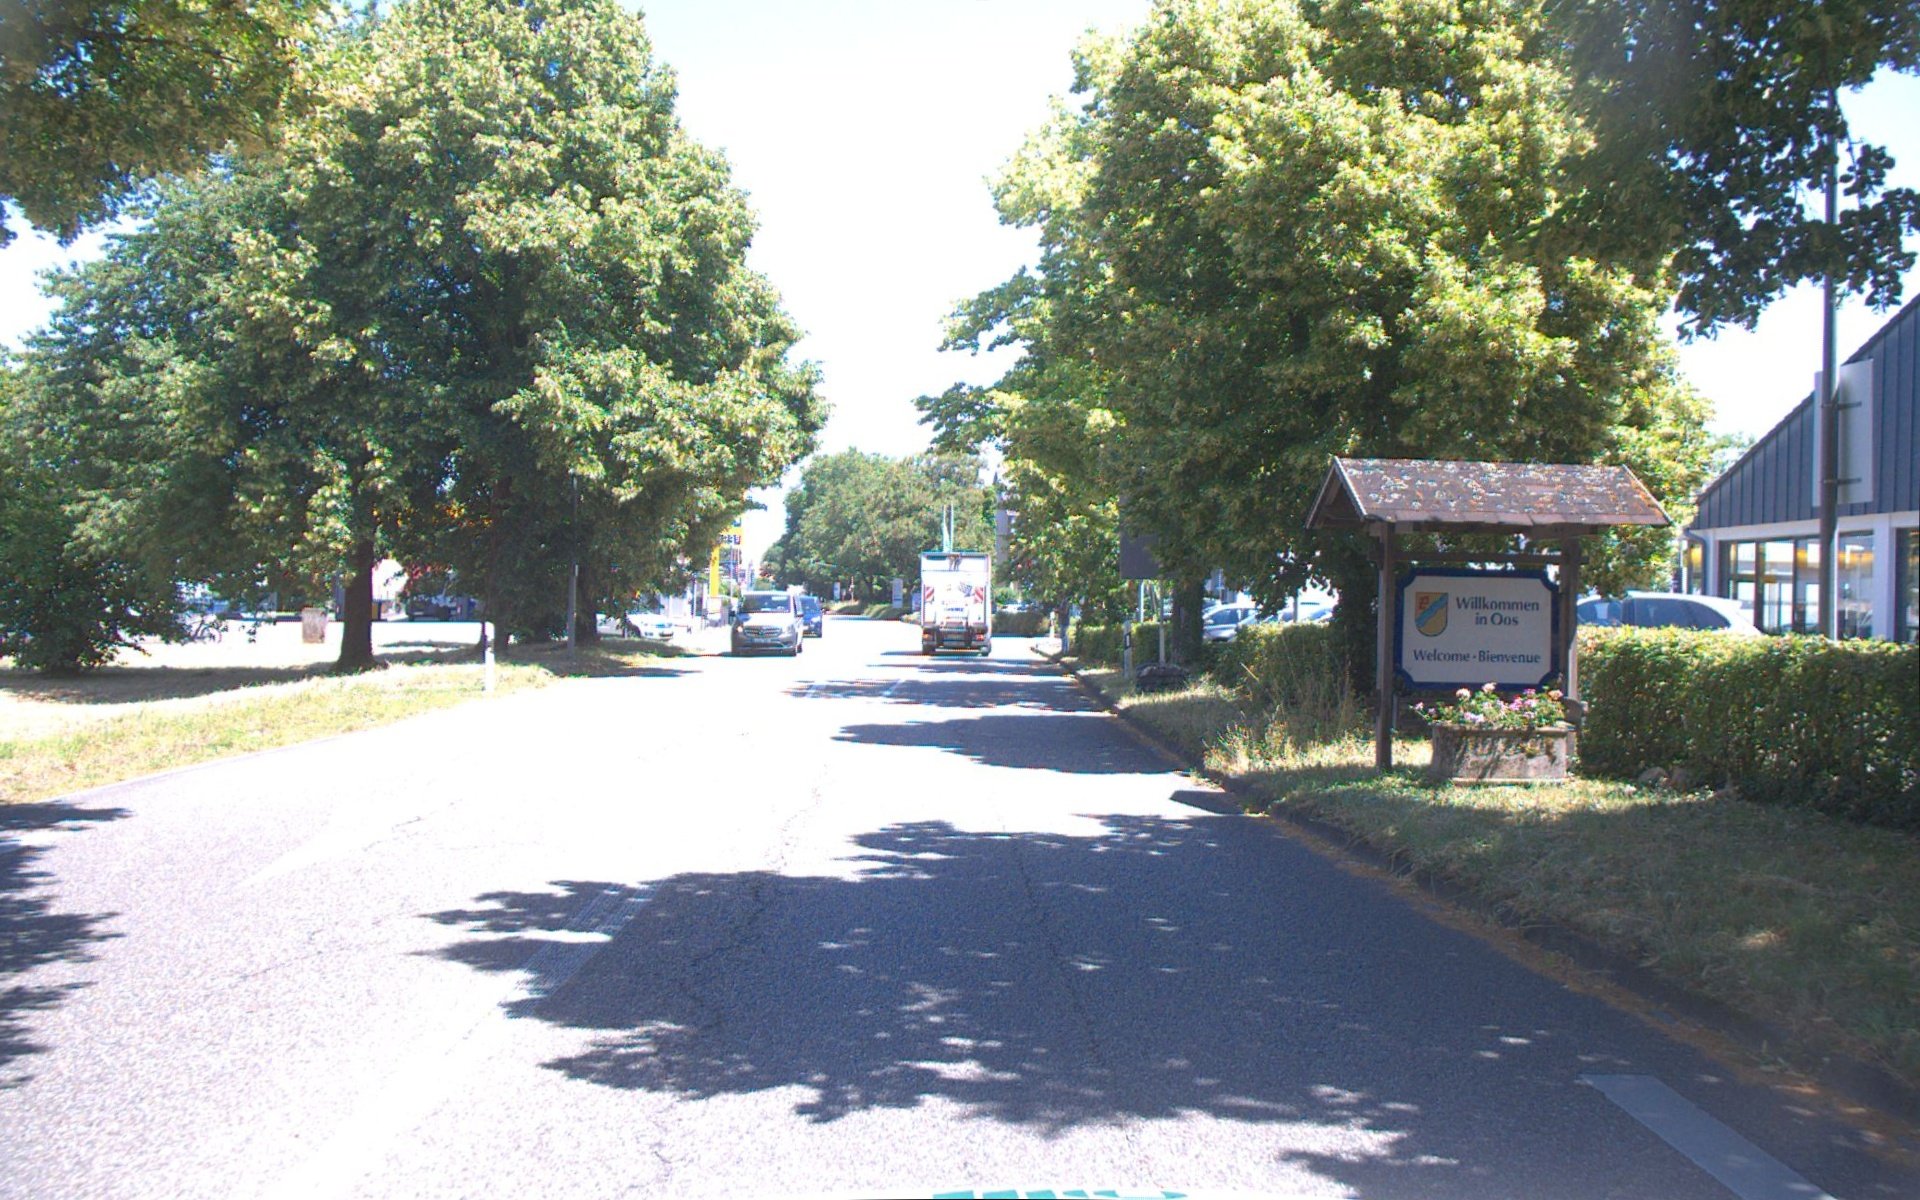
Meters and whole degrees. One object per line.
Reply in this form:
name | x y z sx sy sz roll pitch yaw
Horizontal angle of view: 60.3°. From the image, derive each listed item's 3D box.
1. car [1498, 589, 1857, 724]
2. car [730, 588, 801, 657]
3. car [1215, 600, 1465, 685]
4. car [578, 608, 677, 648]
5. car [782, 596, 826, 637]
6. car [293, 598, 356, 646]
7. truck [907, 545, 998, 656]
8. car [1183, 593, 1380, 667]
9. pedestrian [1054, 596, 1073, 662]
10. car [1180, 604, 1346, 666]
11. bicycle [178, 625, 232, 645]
car | 9.183 0.707 21.374 3.855 1.592 1.797 1 0 -2
car | -5.691 0.634 48.572 1.955 1.889 5.308 0 0 -6
car | 7.134 0.791 31.316 4.302 1.565 1.830 0 0 -2
car | -11.826 0.991 58.785 3.355 1.386 1.333 0 0 26
car | -6.937 0.730 73.925 1.709 1.777 4.577 0 0 -2
car | -22.370 0.759 58.293 1.708 1.613 3.982 0 0 -16
truck | -0.152 -0.012 50.215 2.481 3.190 5.363 0 1 3
car | 7.117 0.665 36.857 4.023 1.604 1.866 0 0 -2
pedestrian | 2.859 0.794 45.800 0.536 1.807 0.577 0 -1 3
car | 7.600 0.872 41.765 3.865 1.537 1.706 0 0 -2
bicycle | -26.136 1.206 57.255 1.640 0.657 0.424 0 0 -7
